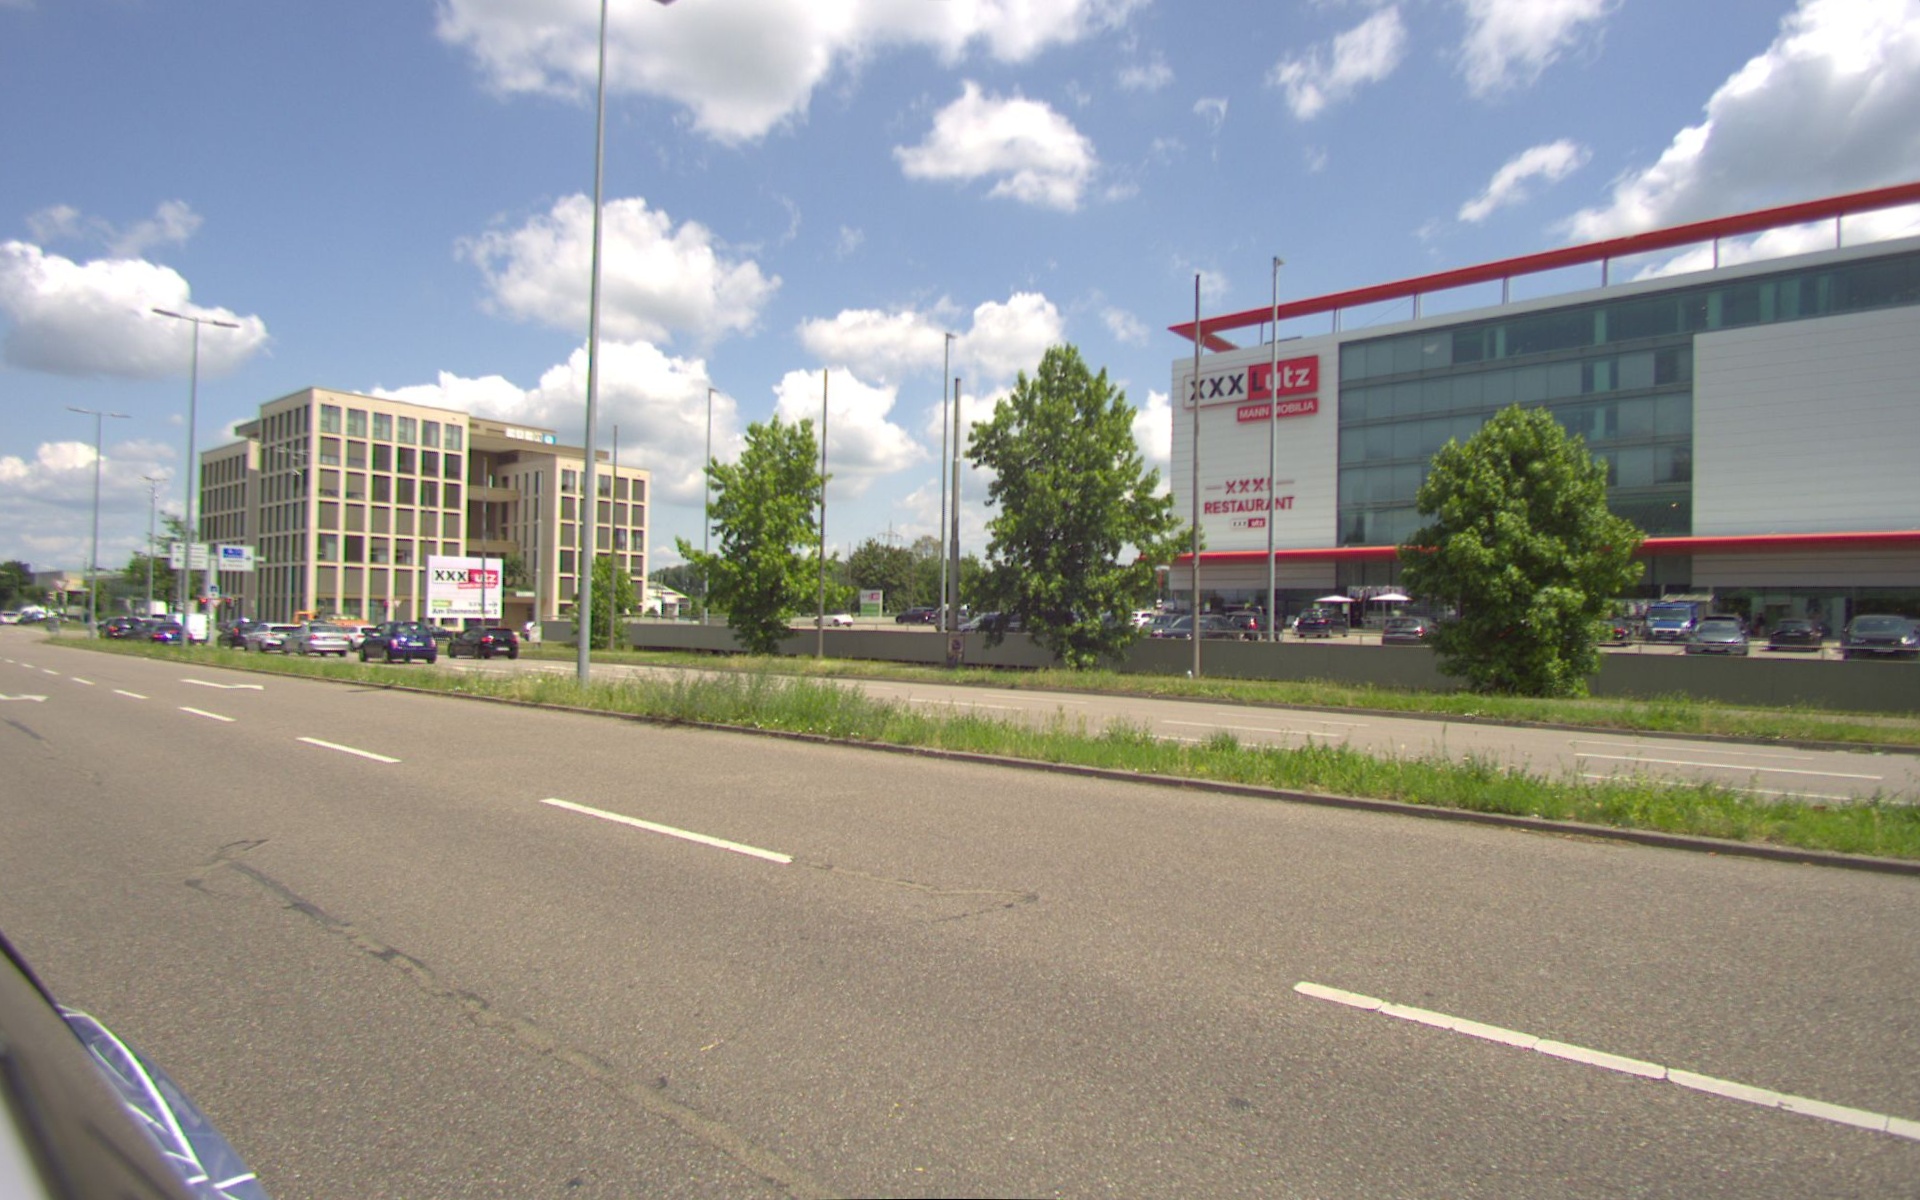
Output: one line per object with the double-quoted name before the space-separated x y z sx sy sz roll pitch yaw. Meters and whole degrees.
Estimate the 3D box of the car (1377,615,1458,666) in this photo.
"car" 19.263 1.712 42.508 1.998 2.004 4.305 -3 -4 39

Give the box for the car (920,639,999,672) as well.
"car" 0.007 2.826 51.613 1.850 1.608 3.943 -2 -3 43

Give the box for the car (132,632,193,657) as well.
"car" -41.031 2.300 52.043 4.306 1.260 1.772 -2 -4 43

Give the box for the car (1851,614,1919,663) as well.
"car" 40.329 1.673 44.173 1.998 2.004 4.305 -1 -3 39

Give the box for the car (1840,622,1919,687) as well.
"car" 30.447 1.773 33.352 1.998 2.004 4.305 -1 -3 39

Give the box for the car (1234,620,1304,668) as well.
"car" 15.883 2.228 51.900 1.998 2.347 4.305 -1 -3 39

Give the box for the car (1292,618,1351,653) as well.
"car" 21.433 2.118 59.926 1.998 2.004 4.305 -1 -3 39

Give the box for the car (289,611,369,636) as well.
"car" -63.910 2.409 102.527 6.435 2.347 2.856 3 -5 -43

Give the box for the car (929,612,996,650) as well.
"car" 0.184 2.029 65.555 2.000 2.347 4.301 -1 -3 42

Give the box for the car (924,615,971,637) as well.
"car" -1.130 2.278 87.420 3.832 1.847 1.830 -2 -3 42

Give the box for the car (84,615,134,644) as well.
"car" -50.332 1.779 59.814 4.171 1.657 1.771 -2 -4 44

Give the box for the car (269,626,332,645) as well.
"car" -58.734 3.173 90.120 1.997 1.644 4.257 -1 -3 37

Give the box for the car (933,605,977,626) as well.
"car" -0.475 1.420 93.666 3.829 1.847 1.831 -2 -3 40

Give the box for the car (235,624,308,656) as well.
"car" -32.888 1.919 48.308 4.844 1.413 1.772 -2 -4 42

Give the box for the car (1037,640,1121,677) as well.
"car" 5.495 2.657 46.442 1.846 1.608 3.943 -2 -3 43

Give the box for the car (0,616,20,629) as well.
"car" -131.880 3.133 140.156 4.484 1.731 2.259 0 -2 44

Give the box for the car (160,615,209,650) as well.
"car" -47.896 2.035 62.459 3.577 2.059 1.836 -2 -4 44

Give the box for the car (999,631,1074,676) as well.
"car" 4.272 2.930 55.811 1.998 2.347 4.305 -1 -3 39

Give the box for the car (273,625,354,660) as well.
"car" -27.998 1.817 43.765 4.673 1.429 1.772 -2 -4 42

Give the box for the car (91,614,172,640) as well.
"car" -58.843 1.931 71.895 1.861 1.741 4.137 2 0 39

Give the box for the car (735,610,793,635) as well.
"car" -14.898 1.754 76.758 4.670 1.847 1.831 -2 -3 40

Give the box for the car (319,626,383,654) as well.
"car" -33.059 2.193 54.905 4.354 1.484 1.603 -2 -3 39

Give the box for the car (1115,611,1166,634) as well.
"car" 12.236 1.534 68.679 1.680 1.481 3.779 -2 -3 42

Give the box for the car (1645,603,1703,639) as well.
"car" 37.901 1.156 53.645 2.196 1.792 5.067 -2 -3 39

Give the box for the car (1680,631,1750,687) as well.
"car" 29.827 2.293 39.911 1.998 2.065 4.305 -1 -3 39

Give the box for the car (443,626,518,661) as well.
"car" -21.165 1.922 44.609 4.116 1.481 1.601 -2 -3 43

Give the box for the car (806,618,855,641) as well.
"car" -10.636 2.420 82.862 3.827 1.847 1.832 -1 -3 38

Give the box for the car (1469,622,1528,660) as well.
"car" 29.237 2.205 54.860 1.998 2.004 4.305 -1 -3 39

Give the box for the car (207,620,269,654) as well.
"car" -37.979 1.985 53.223 4.226 1.714 1.772 -2 -4 43

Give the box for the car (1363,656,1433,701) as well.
"car" 21.275 3.768 49.097 1.998 2.004 4.305 -1 -3 39

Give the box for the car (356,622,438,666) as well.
"car" -20.440 1.563 36.680 1.718 1.486 3.679 3 -2 -43

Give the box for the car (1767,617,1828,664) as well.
"car" 37.965 1.835 45.926 1.998 2.004 4.305 -1 -3 39
